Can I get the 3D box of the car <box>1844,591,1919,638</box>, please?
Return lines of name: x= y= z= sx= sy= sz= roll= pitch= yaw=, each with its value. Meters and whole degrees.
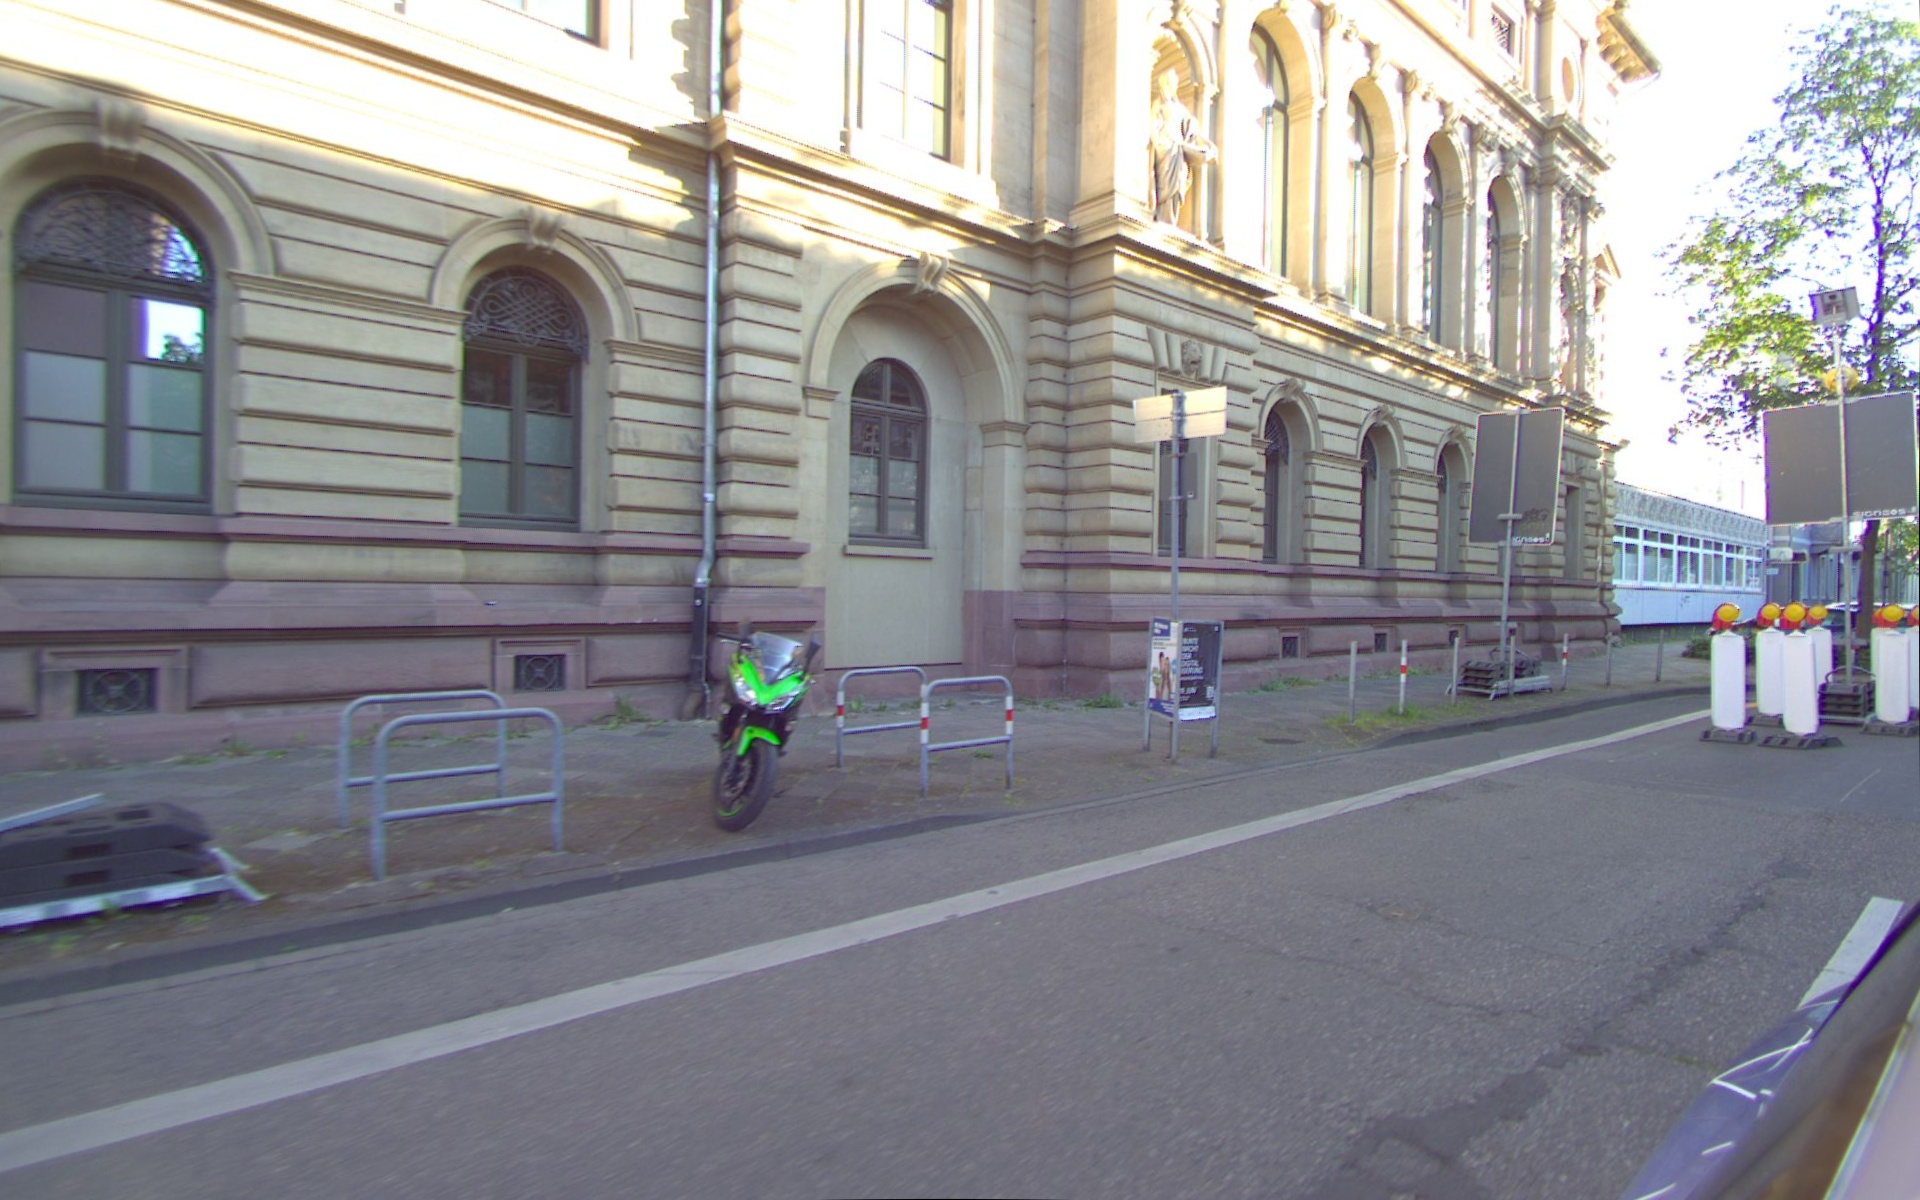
car: x=36.649 y=0.600 z=38.469 sx=1.704 sy=1.644 sz=4.363 roll=0 pitch=3 yaw=-43

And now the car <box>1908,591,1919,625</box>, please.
car: x=53.335 y=0.532 z=53.610 sx=1.704 sy=1.800 sz=4.363 roll=0 pitch=3 yaw=-43

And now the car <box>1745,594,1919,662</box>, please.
car: x=23.929 y=0.718 z=27.050 sx=1.643 sy=1.513 sz=4.367 roll=0 pitch=4 yaw=-41

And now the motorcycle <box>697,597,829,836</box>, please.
motorcycle: x=-1.315 y=0.658 z=6.741 sx=0.695 sy=1.230 sz=2.109 roll=2 pitch=3 yaw=-11

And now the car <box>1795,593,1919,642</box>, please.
car: x=32.490 y=0.613 z=35.756 sx=1.855 sy=1.512 sz=4.363 roll=0 pitch=3 yaw=-43

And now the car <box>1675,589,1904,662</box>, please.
car: x=21.313 y=0.592 z=26.139 sx=1.804 sy=1.482 sz=4.361 roll=0 pitch=4 yaw=-44

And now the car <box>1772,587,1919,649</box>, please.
car: x=28.365 y=0.554 z=31.641 sx=2.020 sy=1.662 sz=4.364 roll=0 pitch=3 yaw=-43
